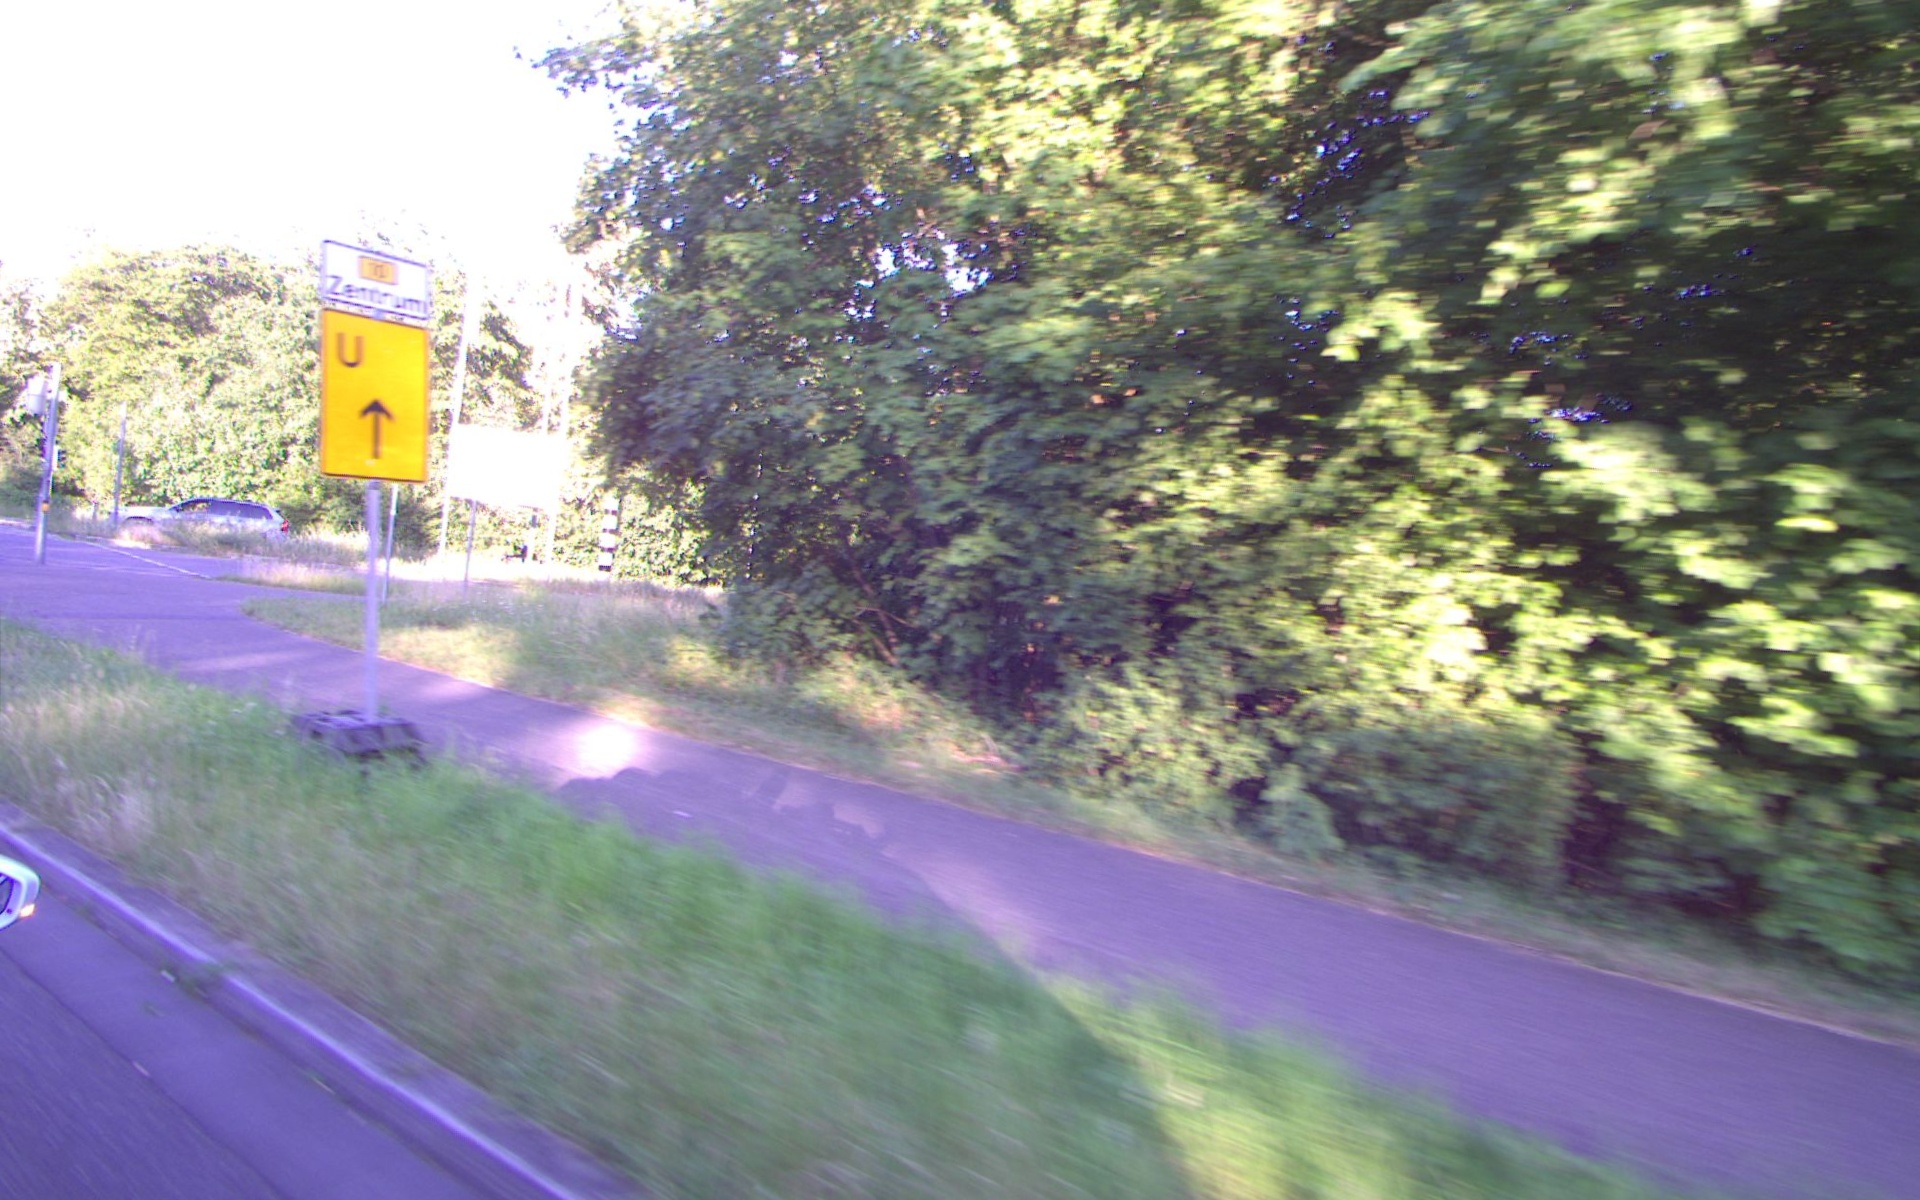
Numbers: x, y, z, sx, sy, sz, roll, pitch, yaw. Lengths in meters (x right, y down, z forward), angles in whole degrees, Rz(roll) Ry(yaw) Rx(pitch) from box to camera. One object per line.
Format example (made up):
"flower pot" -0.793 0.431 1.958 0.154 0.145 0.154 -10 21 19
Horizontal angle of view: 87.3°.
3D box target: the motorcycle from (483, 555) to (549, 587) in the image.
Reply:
"motorcycle" -16.673 -1.092 37.820 2.131 0.921 0.656 7 0 -35

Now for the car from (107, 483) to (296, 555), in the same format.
"car" -25.095 -2.663 33.520 4.788 1.618 1.981 7 0 -36

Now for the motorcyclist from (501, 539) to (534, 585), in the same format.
"motorcyclist" -16.628 -1.421 37.795 0.881 1.615 0.648 7 1 -35
